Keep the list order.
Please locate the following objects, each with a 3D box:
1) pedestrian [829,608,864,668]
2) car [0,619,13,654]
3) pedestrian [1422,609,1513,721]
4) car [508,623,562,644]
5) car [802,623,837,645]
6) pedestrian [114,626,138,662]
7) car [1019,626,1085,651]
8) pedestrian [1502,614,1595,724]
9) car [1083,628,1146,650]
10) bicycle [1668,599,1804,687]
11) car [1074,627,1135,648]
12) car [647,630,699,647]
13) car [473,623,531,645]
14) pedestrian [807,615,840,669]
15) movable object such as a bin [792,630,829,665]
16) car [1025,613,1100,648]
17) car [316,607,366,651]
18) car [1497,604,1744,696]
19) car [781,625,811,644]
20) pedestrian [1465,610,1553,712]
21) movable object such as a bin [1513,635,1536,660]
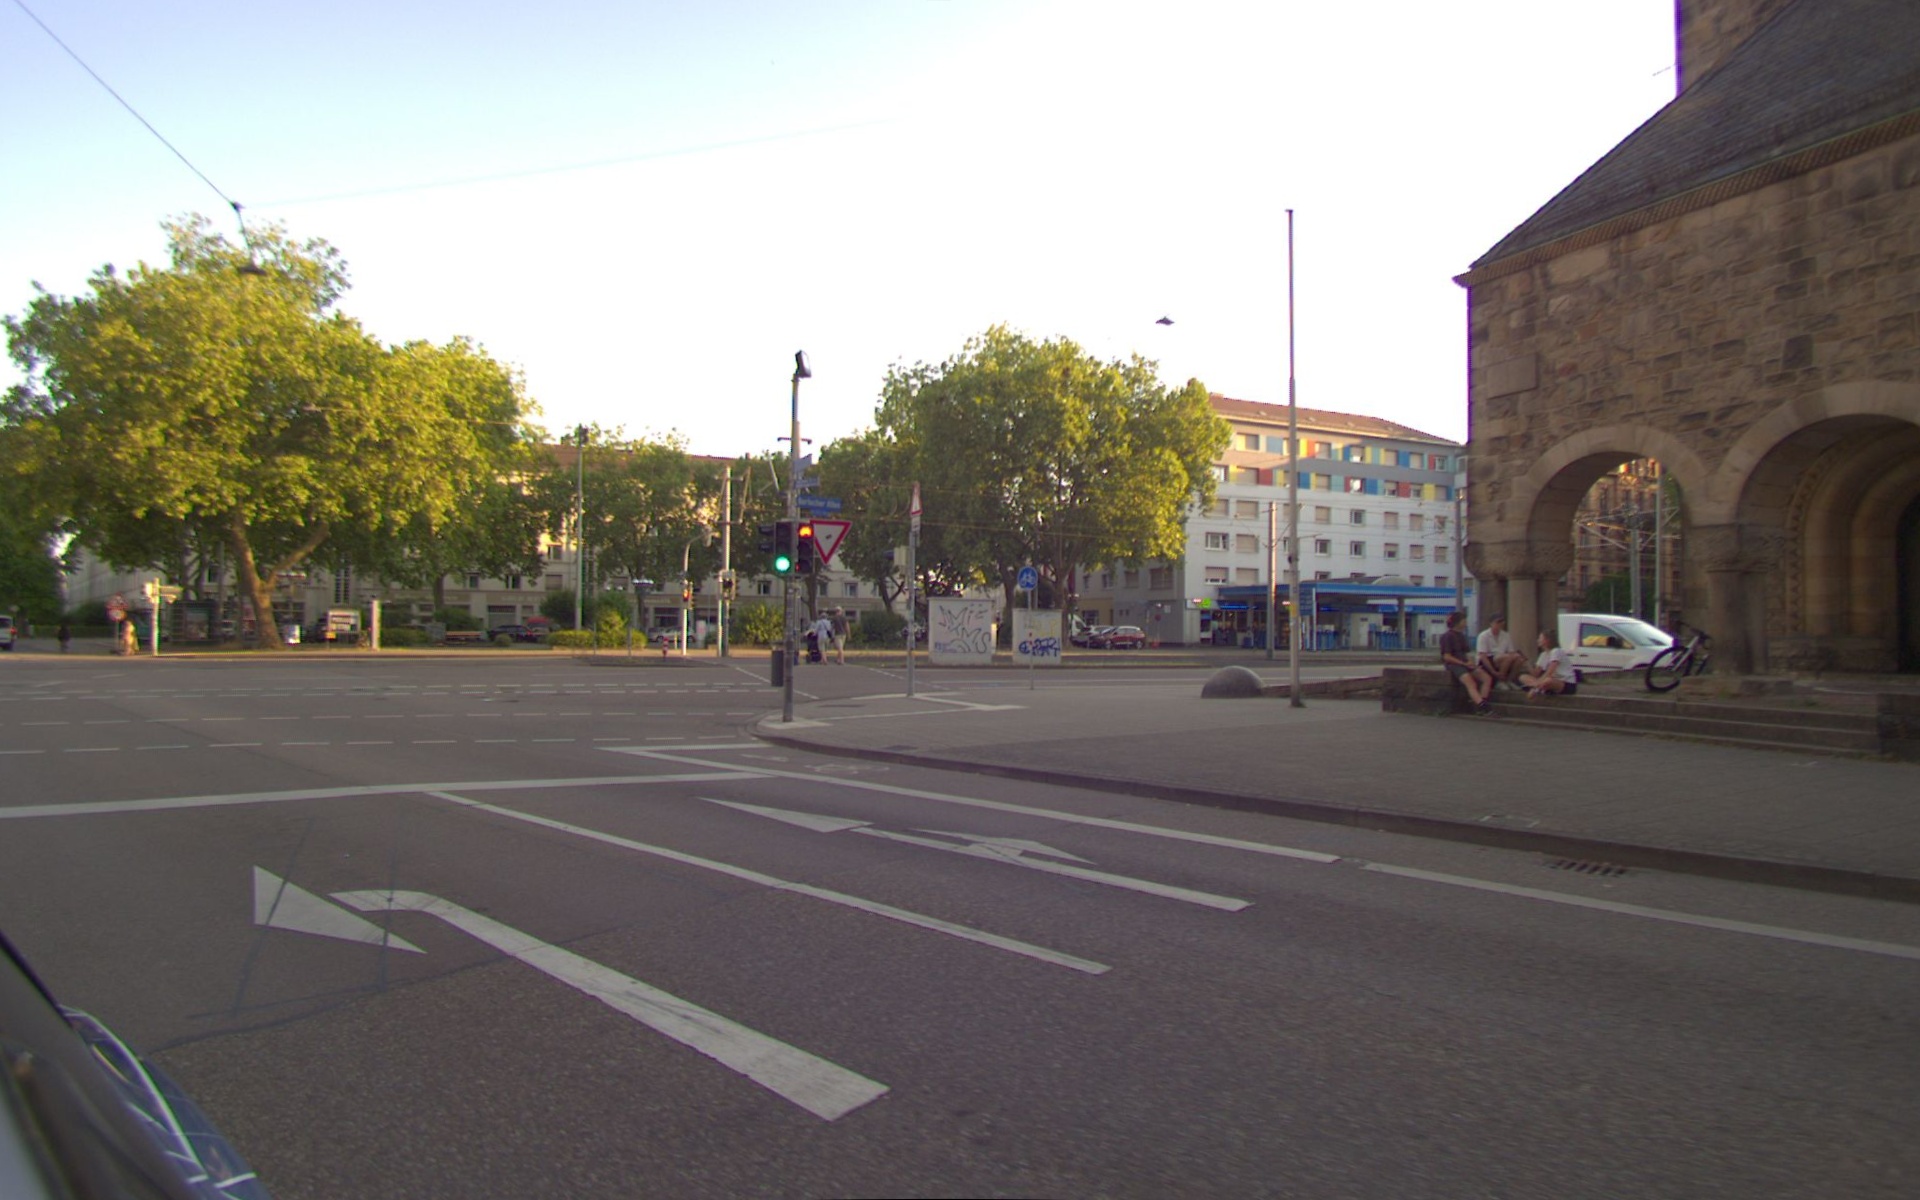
[{"bbox_3d":[-3.617,1.201,32.197,0.699,1.861,1.163,1,-2,-28],"label":"pedestrian"},{"bbox_3d":[-55.291,2.057,57.520,4.598,1.971,1.964,-2,-3,45],"label":"car"},{"bbox_3d":[6.947,0.870,13.874,0.619,1.465,0.918,1,-2,-22],"label":"pedestrian"},{"bbox_3d":[-36.020,2.861,85.879,3.932,1.719,2.006,1,-2,-15],"label":"car"},{"bbox_3d":[-12.079,2.921,86.528,1.965,1.851,4.331,1,-2,-22],"label":"car"},{"bbox_3d":[-37.835,1.981,45.902,0.734,1.641,0.662,1,-2,-32],"label":"pedestrian"},{"bbox_3d":[6.216,2.603,68.245,3.930,1.625,2.006,1,-2,-21],"label":"car"},{"bbox_3d":[7.681,0.886,13.236,0.793,1.385,0.699,0,-2,3],"label":"pedestrian"},{"bbox_3d":[10.679,2.701,69.964,3.931,1.494,1.759,1,-2,-17],"label":"car"},{"bbox_3d":[10.047,0.556,13.077,2.247,1.065,0.597,1,-2,-31],"label":"bicycle"},{"bbox_3d":[10.355,2.694,72.417,3.931,1.494,1.759,1,-2,-17],"label":"car"},{"bbox_3d":[-24.441,3.251,86.221,3.931,1.429,1.815,1,-2,-30],"label":"car"},{"bbox_3d":[-37.004,2.724,81.845,3.932,1.719,2.006,1,-2,-15],"label":"car"},{"bbox_3d":[-4.307,1.317,31.941,0.708,1.646,1.010,1,-2,-28],"label":"pedestrian"},{"bbox_3d":[-4.872,1.542,32.925,0.847,1.128,1.141,1,-2,-29],"label":"movable object such as a bin"},{"bbox_3d":[7.905,2.346,77.686,5.482,2.638,2.006,1,-2,-25],"label":"car"},{"bbox_3d":[-29.889,1.387,48.829,1.837,2.029,3.820,2,-2,-34],"label":"car"},{"bbox_3d":[14.333,1.056,22.298,1.557,1.822,4.420,1,-2,-22],"label":"car"},{"bbox_3d":[-15.548,3.292,95.724,1.965,1.752,4.013,1,-2,-21],"label":"car"},{"bbox_3d":[7.644,0.839,14.106,0.790,1.385,0.701,1,-2,-15],"label":"pedestrian"},{"bbox_3d":[47.505,3.971,85.145,1.491,2.029,1.342,-1,-2,37],"label":"movable object such as a bin"}]
